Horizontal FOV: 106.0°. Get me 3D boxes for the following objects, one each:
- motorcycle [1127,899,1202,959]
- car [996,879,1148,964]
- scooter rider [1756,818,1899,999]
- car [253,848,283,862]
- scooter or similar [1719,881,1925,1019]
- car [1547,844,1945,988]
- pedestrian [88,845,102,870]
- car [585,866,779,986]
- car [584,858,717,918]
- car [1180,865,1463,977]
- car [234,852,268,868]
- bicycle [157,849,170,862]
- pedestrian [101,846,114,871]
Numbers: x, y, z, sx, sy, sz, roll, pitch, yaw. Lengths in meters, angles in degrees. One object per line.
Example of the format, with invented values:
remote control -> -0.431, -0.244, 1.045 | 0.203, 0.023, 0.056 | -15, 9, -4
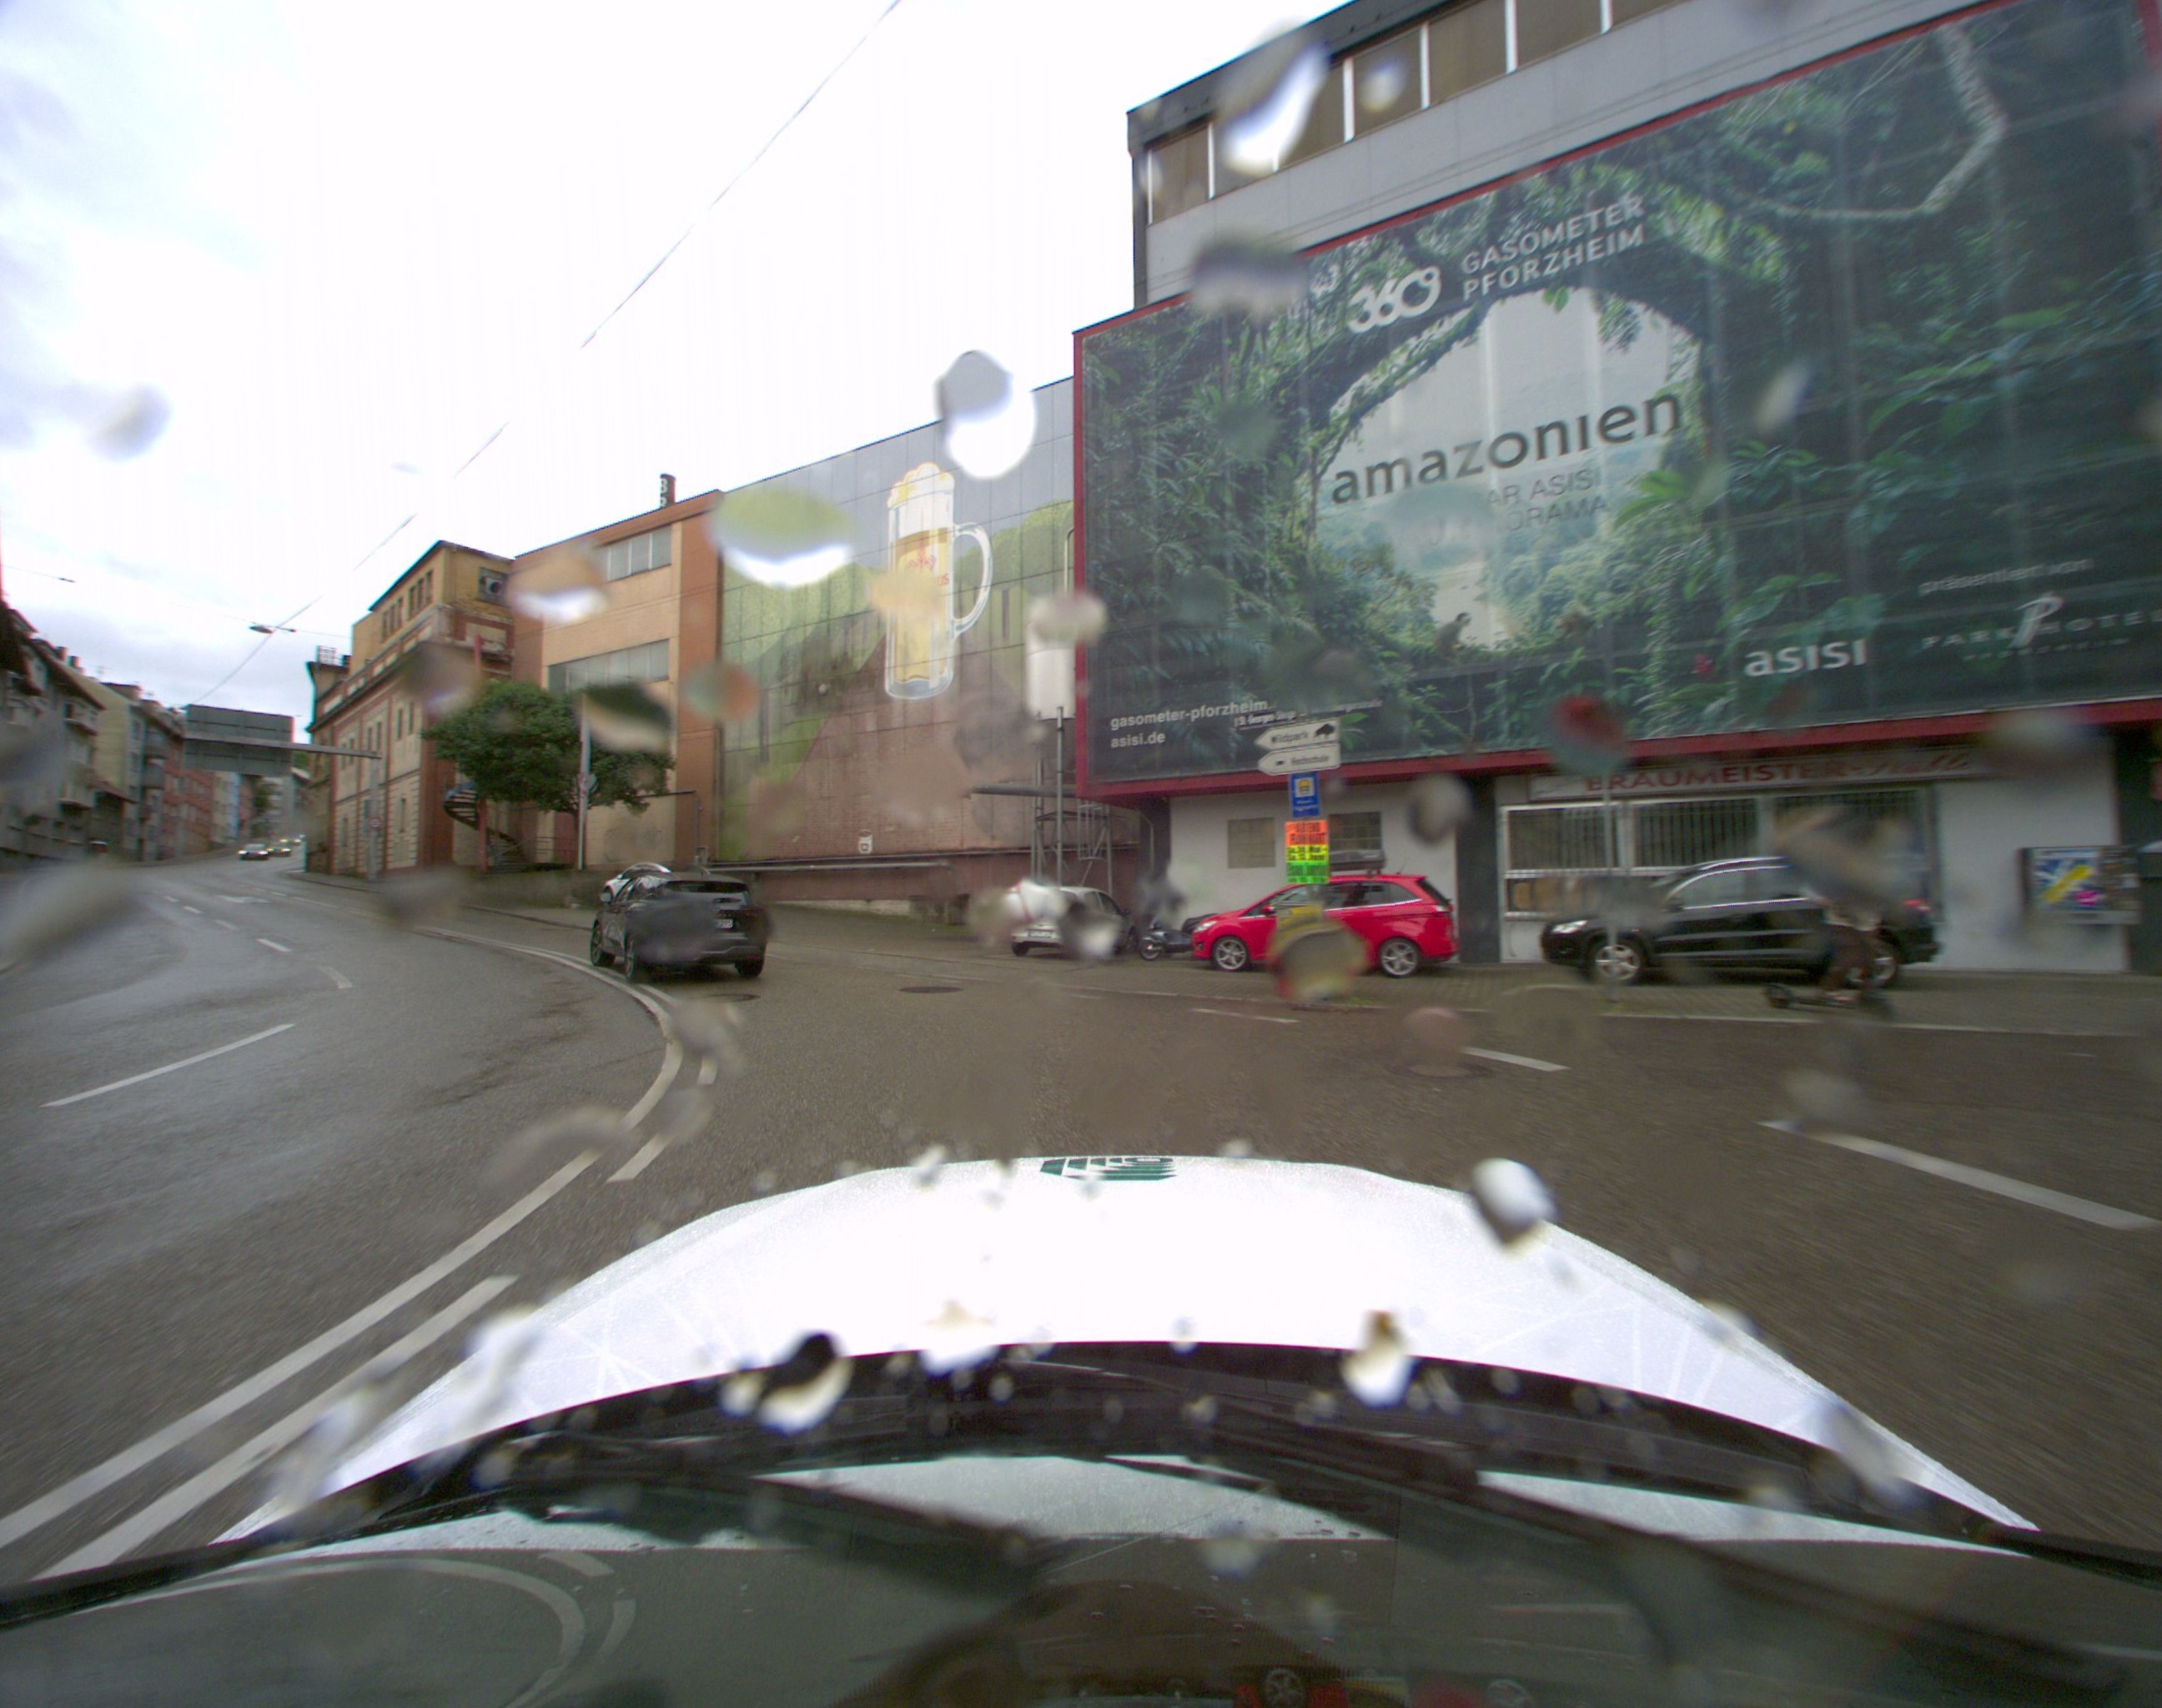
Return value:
motorcycle -> 1.665, 1.482, 16.211 | 1.408, 1.161, 0.454 | -1, -3, 15
car -> -0.077, 1.420, 18.359 | 1.852, 1.533, 4.015 | -1, 0, 25
scooter rider -> 7.981, 0.553, 8.732 | 0.804, 1.821, 0.777 | -1, -1, -18
car -> -93.022, 0.151, 93.240 | 1.808, 1.510, 3.955 | 2, -3, -36
scooter or similar -> 7.962, 0.973, 8.822 | 0.804, 1.323, 1.400 | -1, -1, -18
car -> 8.907, 0.838, 11.450 | 3.949, 1.712, 1.944 | -3, -2, 28
pedestrian -> -70.734, 0.285, 58.425 | 0.614, 1.776, 0.528 | 1, -1, 45
car -> -6.431, 1.044, 12.919 | 1.896, 1.594, 3.875 | 4, -4, -39
car -> -13.909, 1.039, 26.220 | 4.852, 1.617, 1.870 | 2, -1, 37
car -> 4.192, 1.090, 14.305 | 4.435, 1.712, 1.944 | -1, -2, 28
car -> -85.199, 0.609, 83.627 | 1.808, 1.510, 3.955 | 2, -3, -36
bicycle -> -85.673, 0.150, 76.039 | 0.502, 1.107, 1.780 | 2, 0, -39
pedestrian -> -70.378, 0.301, 58.860 | 0.614, 1.776, 0.528 | 1, -1, 45
